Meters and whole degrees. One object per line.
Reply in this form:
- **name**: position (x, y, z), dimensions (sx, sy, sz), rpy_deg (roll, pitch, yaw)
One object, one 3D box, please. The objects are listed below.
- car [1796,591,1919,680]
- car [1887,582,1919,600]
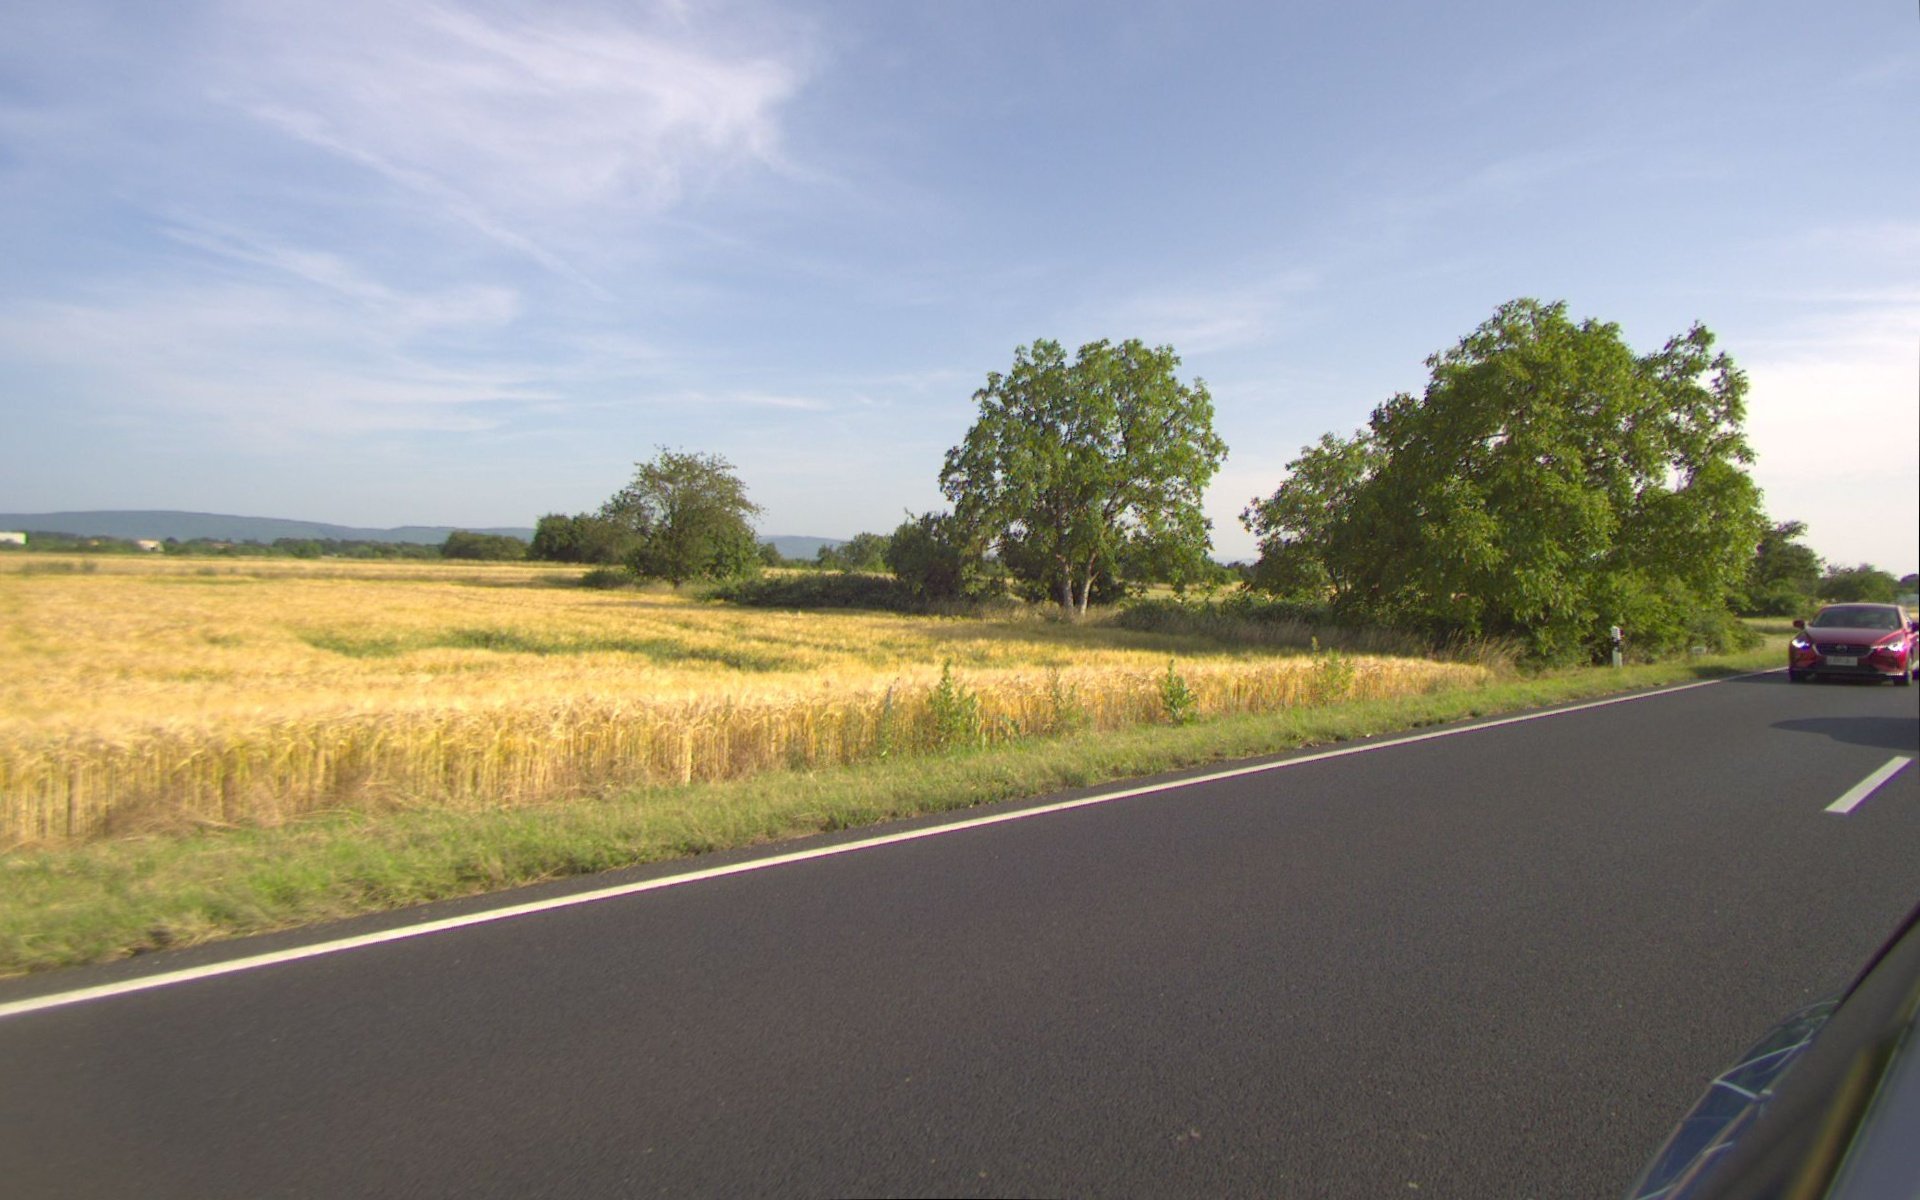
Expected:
- **car**: position (17.983, 0.605, 19.938), dimensions (4.424, 1.524, 1.707), rpy_deg (-1, 1, -42)
- **car**: position (156.975, -1.449, 165.782), dimensions (2.049, 2.702, 7.229), rpy_deg (-1, 2, -27)
